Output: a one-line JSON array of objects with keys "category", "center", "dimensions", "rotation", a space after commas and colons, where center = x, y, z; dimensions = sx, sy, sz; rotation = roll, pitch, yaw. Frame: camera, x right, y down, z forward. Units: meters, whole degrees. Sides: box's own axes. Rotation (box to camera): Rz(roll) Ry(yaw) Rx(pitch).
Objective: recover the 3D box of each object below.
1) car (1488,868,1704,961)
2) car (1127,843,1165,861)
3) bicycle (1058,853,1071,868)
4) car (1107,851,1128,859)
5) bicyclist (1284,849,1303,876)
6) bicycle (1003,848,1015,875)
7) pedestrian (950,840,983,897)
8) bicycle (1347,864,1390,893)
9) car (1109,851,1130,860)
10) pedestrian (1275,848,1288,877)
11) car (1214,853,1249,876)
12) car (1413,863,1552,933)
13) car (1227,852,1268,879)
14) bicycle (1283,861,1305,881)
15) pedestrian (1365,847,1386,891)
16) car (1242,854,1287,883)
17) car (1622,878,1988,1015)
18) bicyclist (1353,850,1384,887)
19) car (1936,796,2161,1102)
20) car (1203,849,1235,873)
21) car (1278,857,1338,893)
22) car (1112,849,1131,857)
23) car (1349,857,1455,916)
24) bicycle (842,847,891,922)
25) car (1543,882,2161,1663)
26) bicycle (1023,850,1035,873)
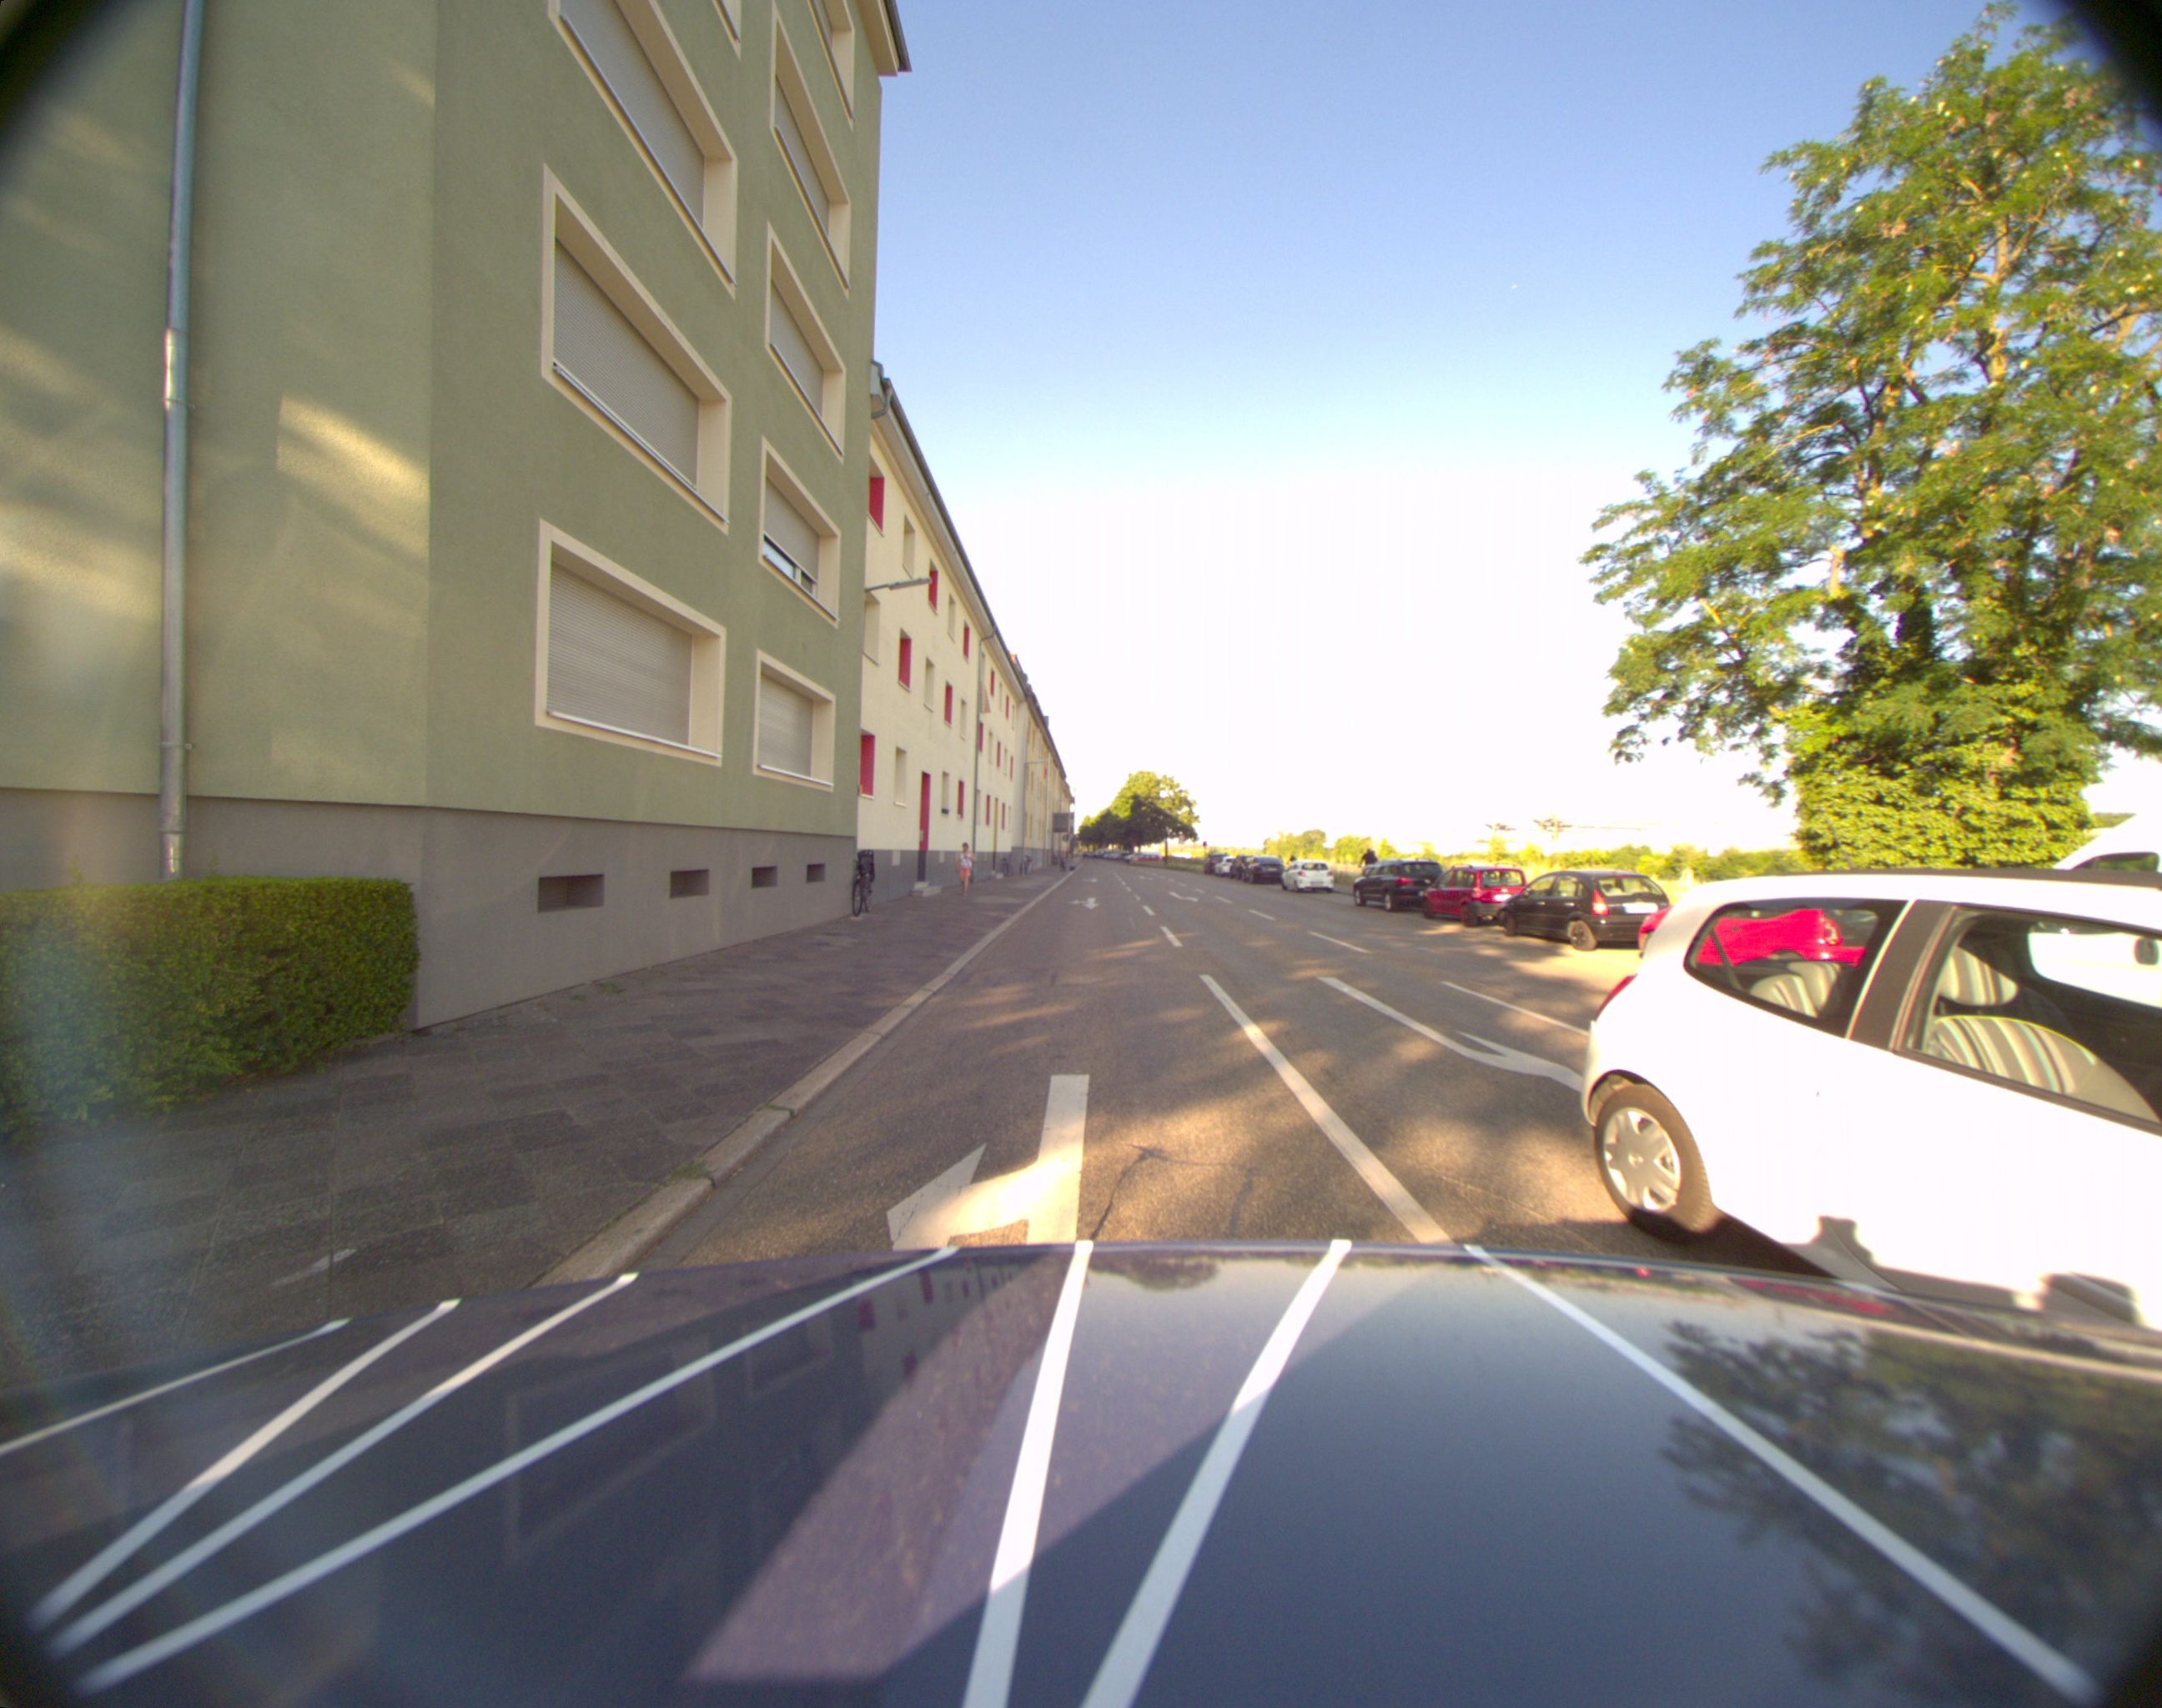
[{"category": "car", "center": [10.170, 1.106, 15.406], "dimensions": [1.745, 1.521, 3.816], "rotation": [2, 1, 0]}, {"category": "car", "center": [9.532, -0.295, 112.237], "dimensions": [5.322, 2.398, 2.266], "rotation": [-2, 1, 0]}, {"category": "bicycle", "center": [-1.243, 0.493, 56.837], "dimensions": [0.651, 1.091, 2.201], "rotation": [1, 1, -8]}, {"category": "car", "center": [7.434, 0.198, 155.311], "dimensions": [3.997, 1.708, 2.000], "rotation": [2, 1, -1]}, {"category": "bicyclist", "center": [12.675, 0.497, 45.365], "dimensions": [0.768, 1.587, 1.146], "rotation": [2, 1, 2]}, {"category": "bicycle", "center": [-3.929, 0.384, 41.370], "dimensions": [0.517, 1.404, 1.873], "rotation": [2, 1, -3]}, {"category": "pedestrian", "center": [-3.531, 0.429, 23.416], "dimensions": [0.787, 1.697, 0.950], "rotation": [3, 1, 1]}, {"category": "bicycle", "center": [12.582, 1.057, 33.347], "dimensions": [0.939, 1.182, 2.482], "rotation": [2, 1, 1]}, {"category": "car", "center": [7.501, 0.257, 149.728], "dimensions": [3.997, 1.708, 2.000], "rotation": [2, 1, -1]}, {"category": "pedestrian", "center": [13.938, 0.581, 52.819], "dimensions": [0.706, 2.002, 0.710], "rotation": [2, 1, 2]}, {"category": "car", "center": [10.859, 0.709, 55.091], "dimensions": [1.823, 1.565, 4.220], "rotation": [2, 0, 2]}, {"category": "car", "center": [10.264, 1.064, 19.723], "dimensions": [1.664, 1.521, 3.579], "rotation": [2, 1, 0]}, {"category": "car", "center": [10.852, 0.684, 49.698], "dimensions": [1.823, 1.628, 4.220], "rotation": [2, 1, 2]}, {"category": "bicycle", "center": [12.665, 0.998, 45.309], "dimensions": [0.748, 1.084, 2.163], "rotation": [2, 1, 3]}, {"category": "pedestrian", "center": [13.509, 0.673, 34.875], "dimensions": [0.615, 2.002, 0.730], "rotation": [2, 1, -1]}, {"category": "car", "center": [10.575, 0.814, 43.998], "dimensions": [1.823, 1.517, 4.291], "rotation": [2, 0, 5]}, {"category": "car", "center": [10.068, 1.180, 11.037], "dimensions": [1.745, 1.478, 3.694], "rotation": [2, 1, 0]}, {"category": "bicyclist", "center": [12.595, 0.632, 33.300], "dimensions": [0.866, 1.587, 1.146], "rotation": [2, 1, 0]}, {"category": "car", "center": [9.687, 0.749, 4.814], "dimensions": [2.235, 2.422, 5.559], "rotation": [-1, 1, -1]}, {"category": "car", "center": [11.008, 0.525, 60.975], "dimensions": [1.890, 1.765, 4.220], "rotation": [2, 1, 2]}, {"category": "car", "center": [10.414, 0.922, 35.064], "dimensions": [1.706, 1.517, 3.583], "rotation": [2, 1, 1]}, {"category": "car", "center": [9.211, -0.218, 173.160], "dimensions": [3.997, 1.708, 2.000], "rotation": [2, 1, -1]}, {"category": "car", "center": [10.143, 0.951, 24.343], "dimensions": [1.664, 1.649, 4.005], "rotation": [2, 1, 0]}, {"category": "bicycle", "center": [-4.309, 0.577, 15.367], "dimensions": [0.517, 1.404, 1.873], "rotation": [2, 1, -3]}, {"category": "car", "center": [3.013, 0.896, 1.604], "dimensions": [1.705, 1.460, 3.775], "rotation": [2, 1, -1]}, {"category": "bicycle", "center": [-3.159, 0.434, 46.302], "dimensions": [0.517, 1.318, 2.210], "rotation": [2, 1, 2]}]
